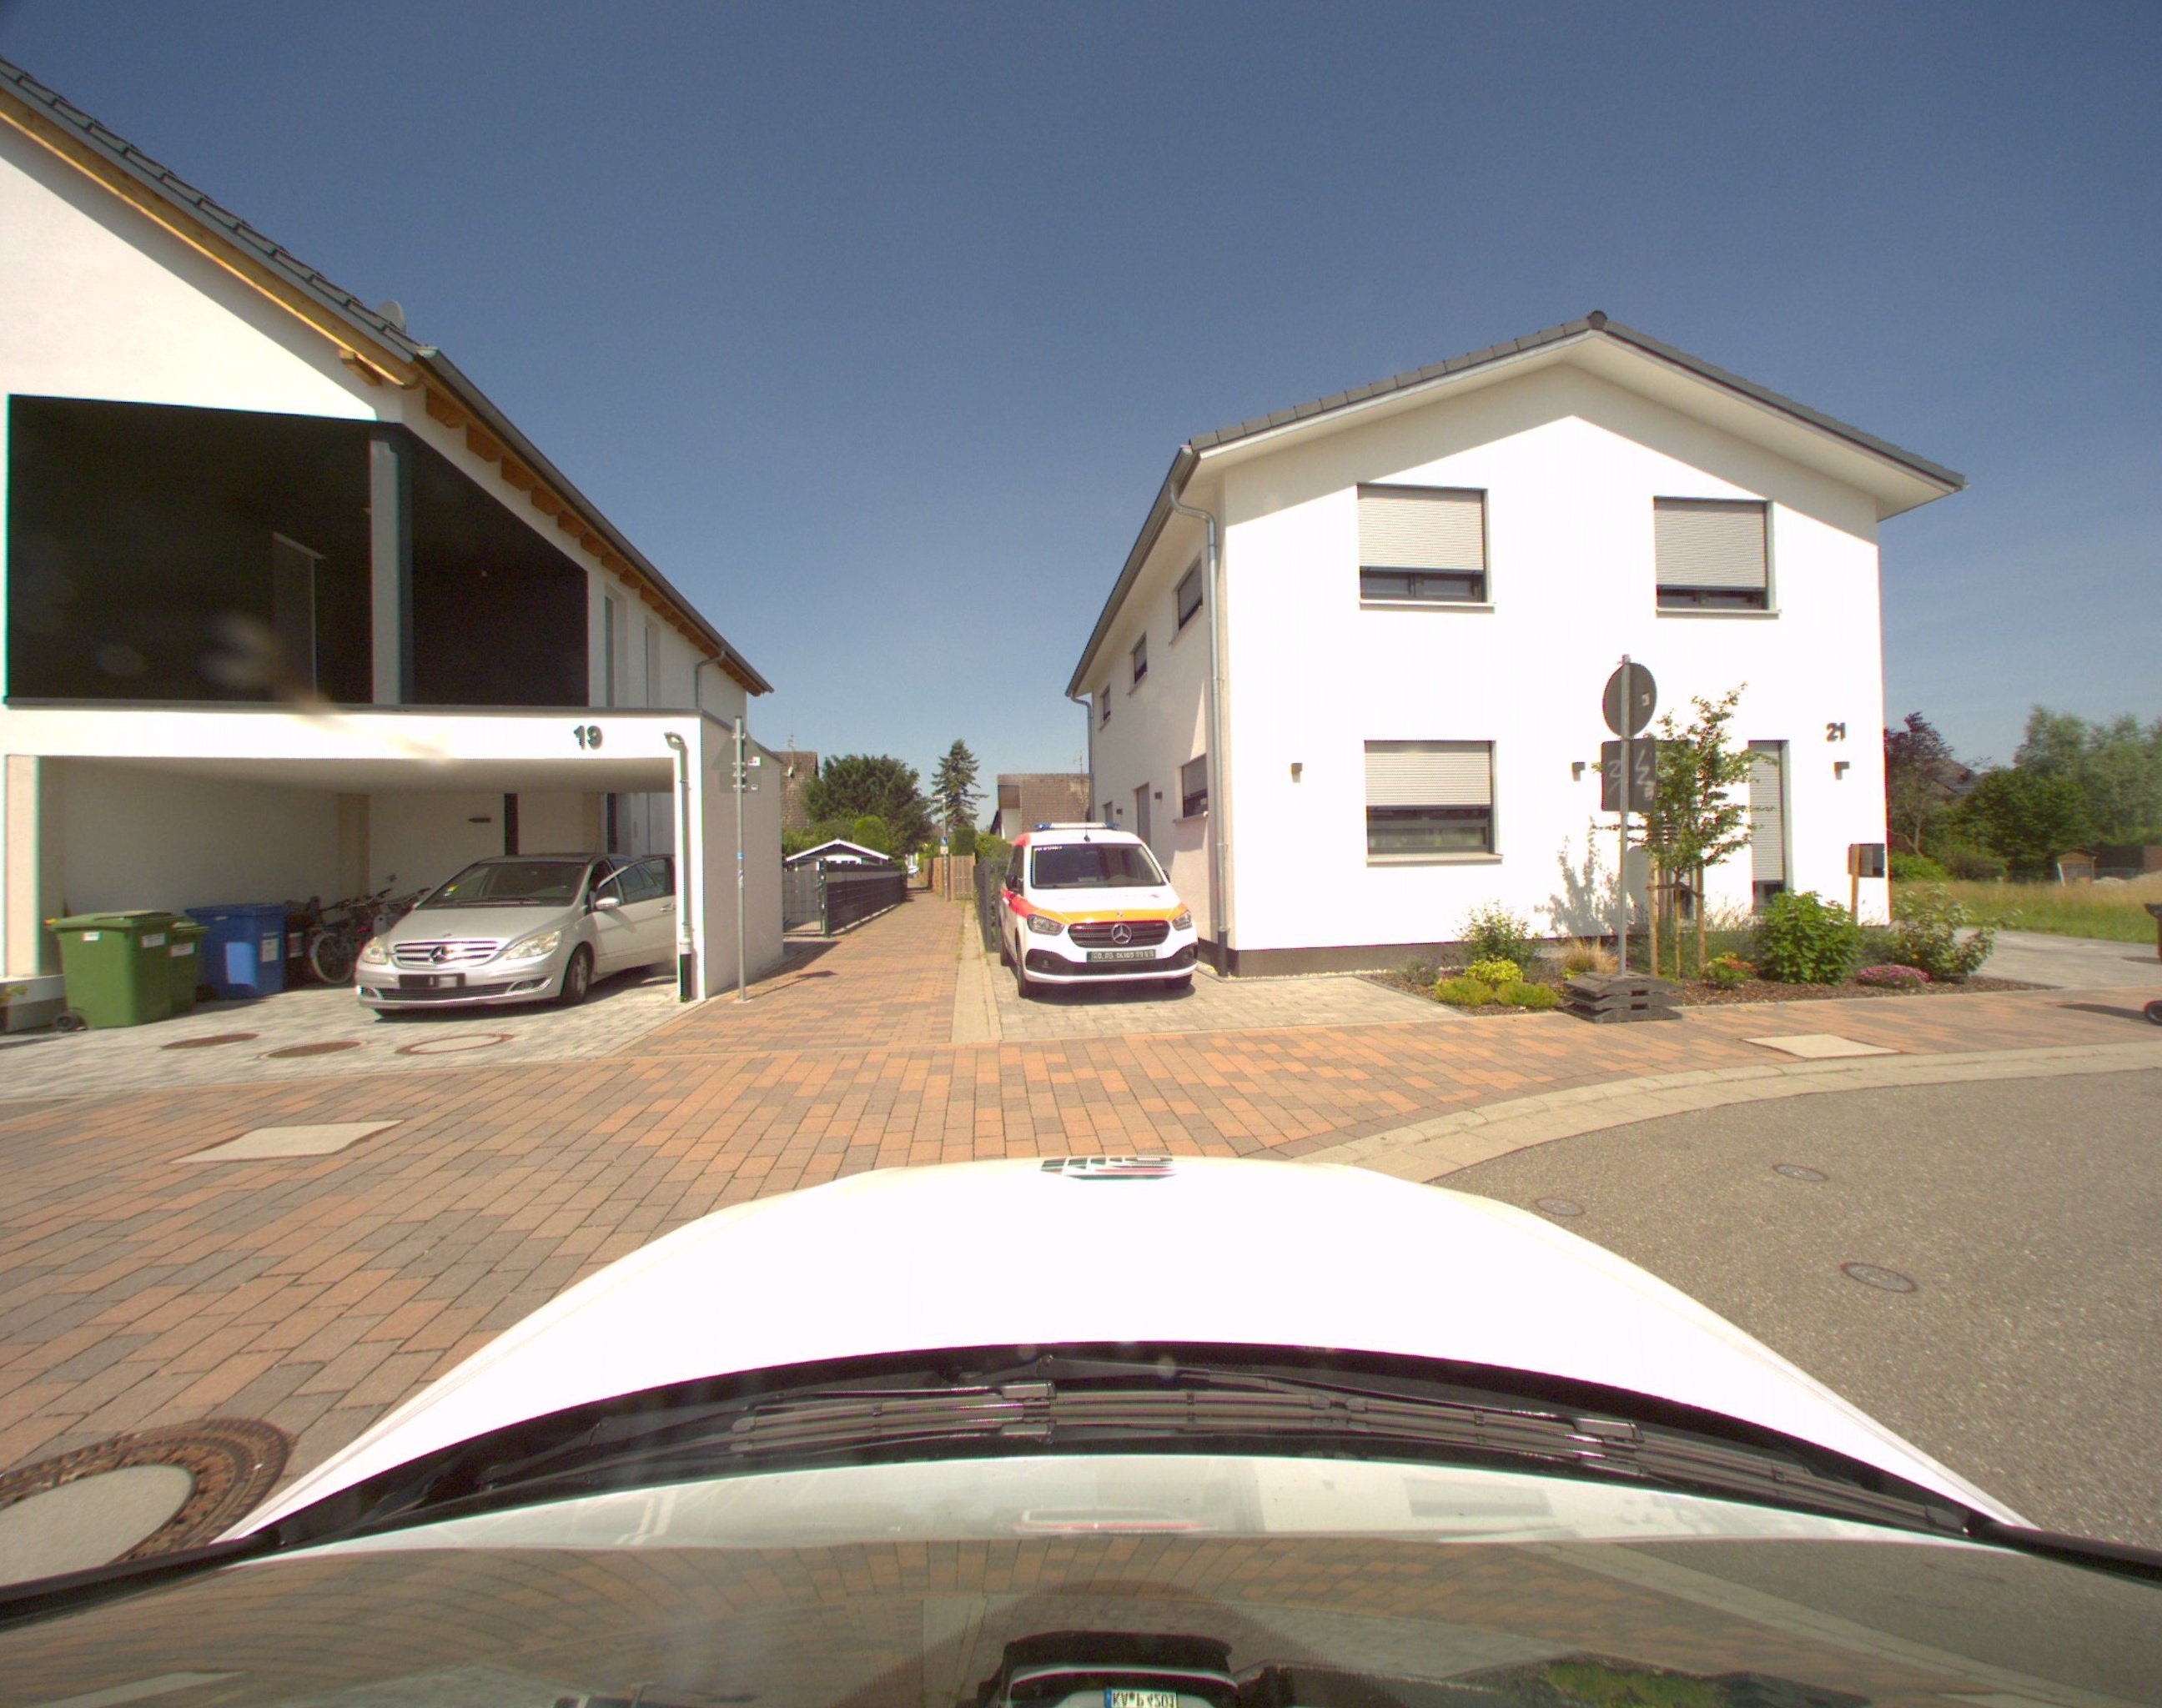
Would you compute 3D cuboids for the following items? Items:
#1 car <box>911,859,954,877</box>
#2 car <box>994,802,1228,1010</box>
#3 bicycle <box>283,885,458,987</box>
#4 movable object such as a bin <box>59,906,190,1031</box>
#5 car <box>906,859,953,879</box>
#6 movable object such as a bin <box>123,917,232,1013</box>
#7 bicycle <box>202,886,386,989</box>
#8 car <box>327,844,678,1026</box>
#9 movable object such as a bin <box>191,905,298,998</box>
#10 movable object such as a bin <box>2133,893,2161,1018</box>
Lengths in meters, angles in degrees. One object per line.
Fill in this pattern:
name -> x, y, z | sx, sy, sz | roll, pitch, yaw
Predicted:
car -> -14.954, 1.375, 82.071 | 4.146, 1.717, 1.899 | -1, -1, -10
car -> 0.055, 0.499, 9.893 | 1.932, 1.875, 4.736 | -1, -1, -9
bicycle -> -9.332, 1.023, 10.828 | 0.729, 1.126, 2.125 | -2, 0, -10
movable object such as a bin -> -9.183, 1.081, 7.839 | 0.600, 1.092, 0.498 | -3, 0, -12
car -> -13.635, 1.327, 73.504 | 4.146, 1.717, 1.899 | -1, -1, -10
movable object such as a bin -> -9.292, 1.130, 8.396 | 0.560, 0.905, 0.498 | 0, 0, -12
bicycle -> -10.216, 1.026, 10.701 | 0.778, 1.127, 2.122 | 0, -1, -14
car -> -6.166, 0.741, 9.349 | 1.741, 1.562, 4.148 | -1, -1, -12
movable object such as a bin -> -9.532, 1.093, 9.300 | 0.675, 0.987, 0.498 | 0, -1, -12
movable object such as a bin -> 8.557, 0.784, 6.129 | 0.498, 0.948, 0.622 | 0, -1, -11
